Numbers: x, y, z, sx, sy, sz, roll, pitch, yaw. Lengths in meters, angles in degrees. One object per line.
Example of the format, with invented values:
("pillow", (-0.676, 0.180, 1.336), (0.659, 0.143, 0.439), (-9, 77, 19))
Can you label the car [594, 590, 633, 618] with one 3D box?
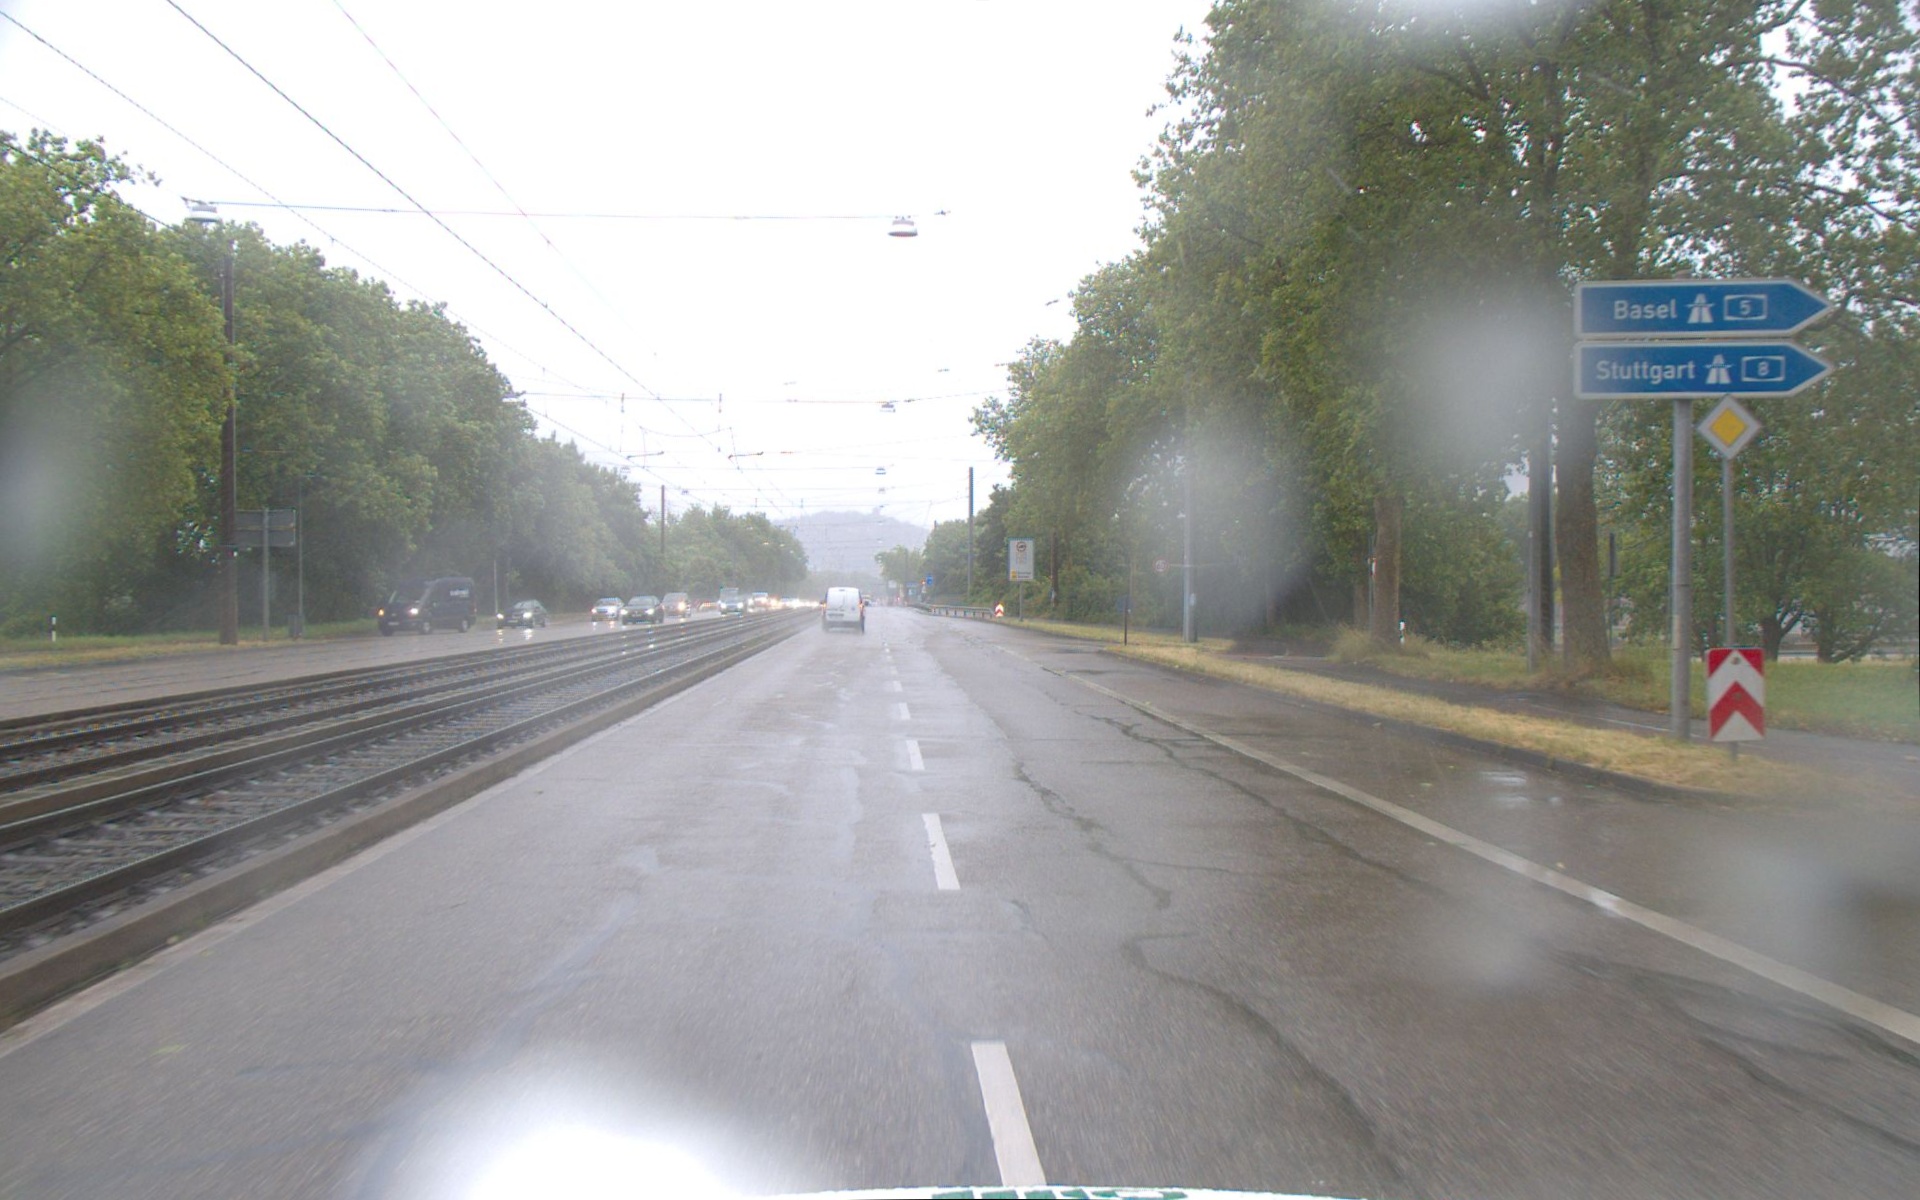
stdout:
("car", (-23.225, 0.235, 111.079), (1.783, 1.735, 5.018), (1, 1, -3))

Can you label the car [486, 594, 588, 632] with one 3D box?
("car", (-21.255, 0.628, 83.261), (2.048, 1.829, 4.745), (2, 1, 36))

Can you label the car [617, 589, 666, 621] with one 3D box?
("car", (-17.240, 0.238, 89.833), (1.754, 1.576, 5.312), (1, 1, -2))

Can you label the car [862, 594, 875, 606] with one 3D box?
("car", (-12.557, 0.053, 226.853), (1.708, 1.534, 3.698), (1, 1, -4))

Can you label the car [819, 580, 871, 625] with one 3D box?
("car", (-4.743, 0.078, 68.433), (1.949, 1.713, 3.739), (1, 1, -2))

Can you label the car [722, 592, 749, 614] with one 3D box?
("car", (-18.202, 0.240, 134.272), (1.740, 1.612, 5.678), (1, 1, -3))

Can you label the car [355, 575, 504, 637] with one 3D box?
("car", (-22.497, 0.228, 70.339), (2.292, 2.468, 5.829), (2, 1, 35))

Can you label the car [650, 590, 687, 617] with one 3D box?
("car", (-20.834, 0.248, 118.415), (1.783, 1.735, 6.101), (1, 1, -3))
